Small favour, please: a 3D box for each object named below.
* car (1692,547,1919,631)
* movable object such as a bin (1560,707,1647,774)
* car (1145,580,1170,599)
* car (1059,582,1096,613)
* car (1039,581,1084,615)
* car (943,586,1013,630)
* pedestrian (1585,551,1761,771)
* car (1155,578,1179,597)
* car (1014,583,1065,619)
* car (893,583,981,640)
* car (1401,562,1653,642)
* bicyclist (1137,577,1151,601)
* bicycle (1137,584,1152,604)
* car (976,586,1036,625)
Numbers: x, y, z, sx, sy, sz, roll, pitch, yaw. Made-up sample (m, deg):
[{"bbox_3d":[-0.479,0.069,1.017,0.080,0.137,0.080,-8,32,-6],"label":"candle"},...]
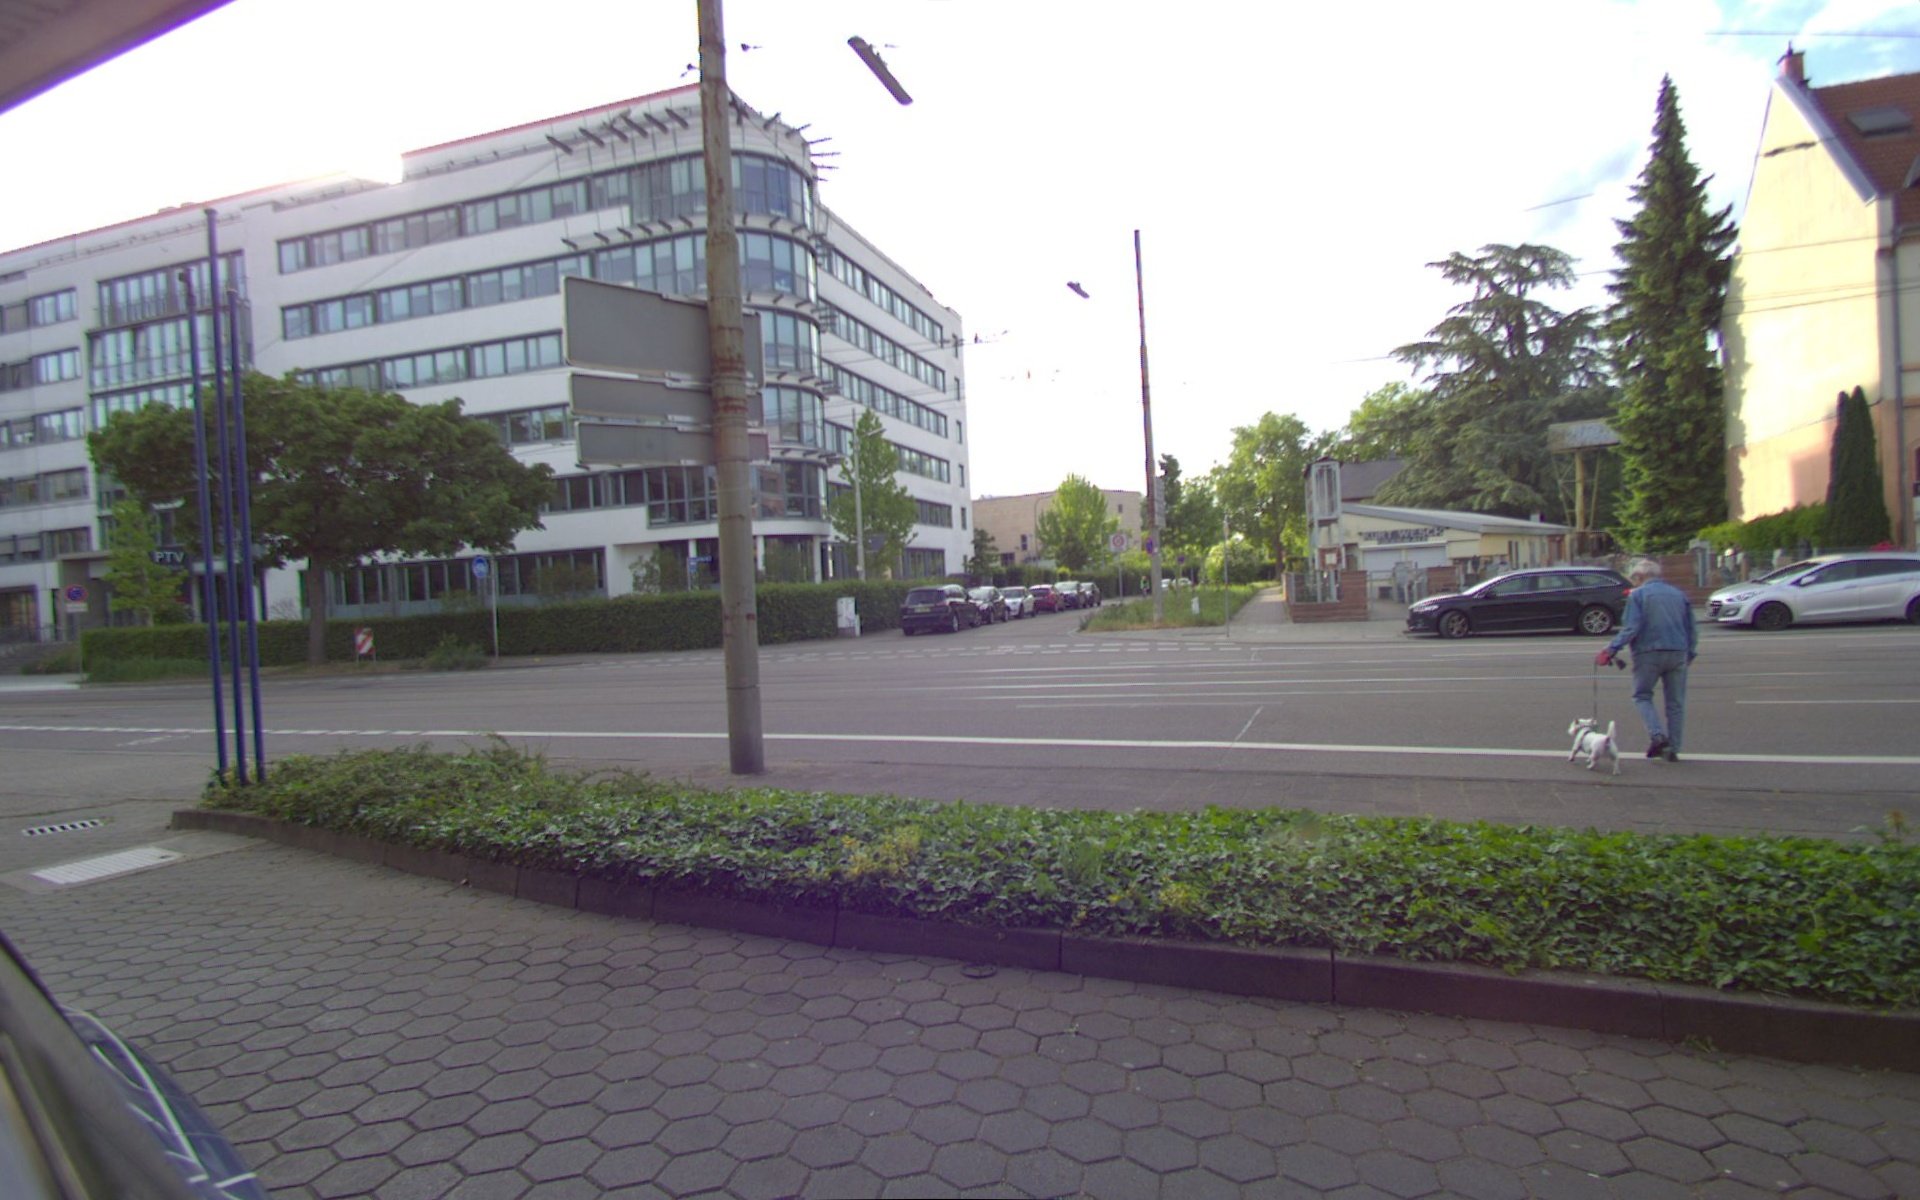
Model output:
[{"bbox_3d":[18.419,-0.250,21.381,4.424,1.494,1.713,-3,1,21],"label":"car"},{"bbox_3d":[5.295,1.151,8.353,0.478,0.424,0.674,-4,2,24],"label":"movable object such as a bin"},{"bbox_3d":[19.699,-1.088,100.791,1.849,1.748,4.247,-3,1,19],"label":"car"},{"bbox_3d":[7.287,-0.164,62.495,1.731,1.748,4.030,-3,0,13],"label":"car"},{"bbox_3d":[5.833,-0.154,57.721,1.929,1.748,4.512,-3,0,13],"label":"car"},{"bbox_3d":[0.791,0.287,40.975,1.929,1.551,4.274,-3,0,13],"label":"car"},{"bbox_3d":[5.893,0.477,8.442,0.999,1.680,0.962,-4,2,29],"label":"pedestrian"},{"bbox_3d":[21.691,-1.338,106.160,1.849,1.748,4.246,-3,1,19],"label":"car"},{"bbox_3d":[4.173,0.019,52.492,1.929,1.650,4.274,-3,0,13],"label":"car"},{"bbox_3d":[-0.728,0.356,35.416,1.994,1.704,4.274,-3,1,13],"label":"car"},{"bbox_3d":[12.908,0.050,23.442,4.742,1.511,2.001,-3,1,21],"label":"car"},{"bbox_3d":[13.073,-0.754,71.724,0.858,1.617,1.024,-3,3,14],"label":"bicyclist"},{"bbox_3d":[13.116,-0.445,71.821,0.858,1.320,1.911,-3,3,14],"label":"bicycle"},{"bbox_3d":[2.140,0.210,45.786,1.929,1.530,4.274,-3,0,13],"label":"car"}]
